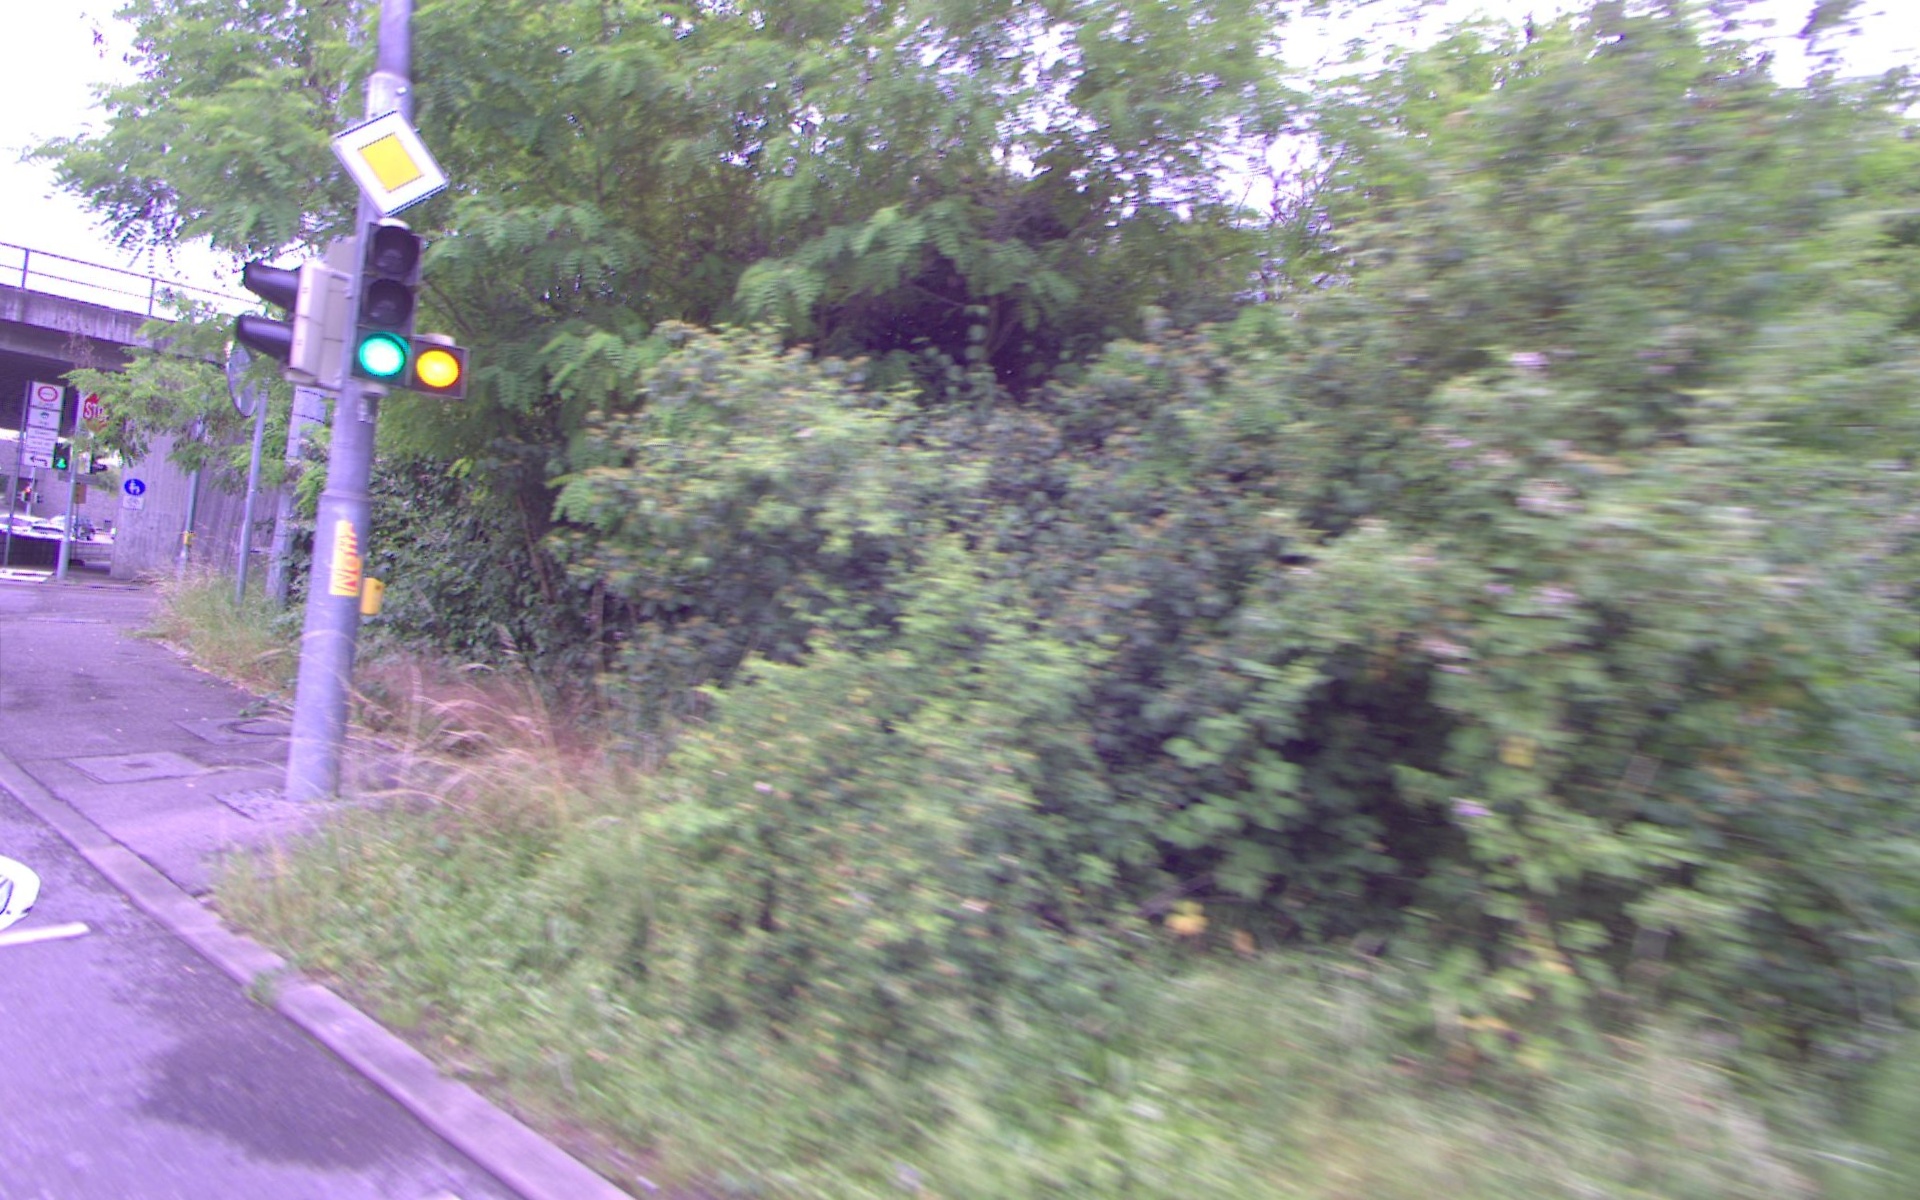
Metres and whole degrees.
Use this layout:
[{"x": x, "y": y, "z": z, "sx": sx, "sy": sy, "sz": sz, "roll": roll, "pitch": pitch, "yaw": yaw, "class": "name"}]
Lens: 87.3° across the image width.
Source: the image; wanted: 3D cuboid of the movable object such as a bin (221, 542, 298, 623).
[{"x": -10.609, "y": -0.250, "z": 15.242, "sx": 0.632, "sy": 1.129, "sz": 0.576, "roll": 6, "pitch": -1, "yaw": 4, "class": "movable object such as a bin"}]

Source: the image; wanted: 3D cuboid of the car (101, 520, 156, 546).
[{"x": -66.998, "y": -5.372, "z": 81.123, "sx": 1.971, "sy": 1.659, "sz": 3.984, "roll": 7, "pitch": -1, "yaw": -19, "class": "car"}]

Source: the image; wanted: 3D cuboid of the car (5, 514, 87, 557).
[{"x": -42.198, "y": -2.921, "z": 46.563, "sx": 1.980, "sy": 1.637, "sz": 3.967, "roll": 7, "pitch": -2, "yaw": -32, "class": "car"}]

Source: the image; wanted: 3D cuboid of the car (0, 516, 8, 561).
[{"x": -32.285, "y": -2.100, "z": 32.359, "sx": 1.891, "sy": 1.484, "sz": 3.959, "roll": 8, "pitch": -1, "yaw": -38, "class": "car"}]

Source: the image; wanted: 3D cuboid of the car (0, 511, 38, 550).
[{"x": -48.268, "y": -3.573, "z": 51.048, "sx": 1.823, "sy": 1.725, "sz": 3.826, "roll": 9, "pitch": -2, "yaw": -40, "class": "car"}]
